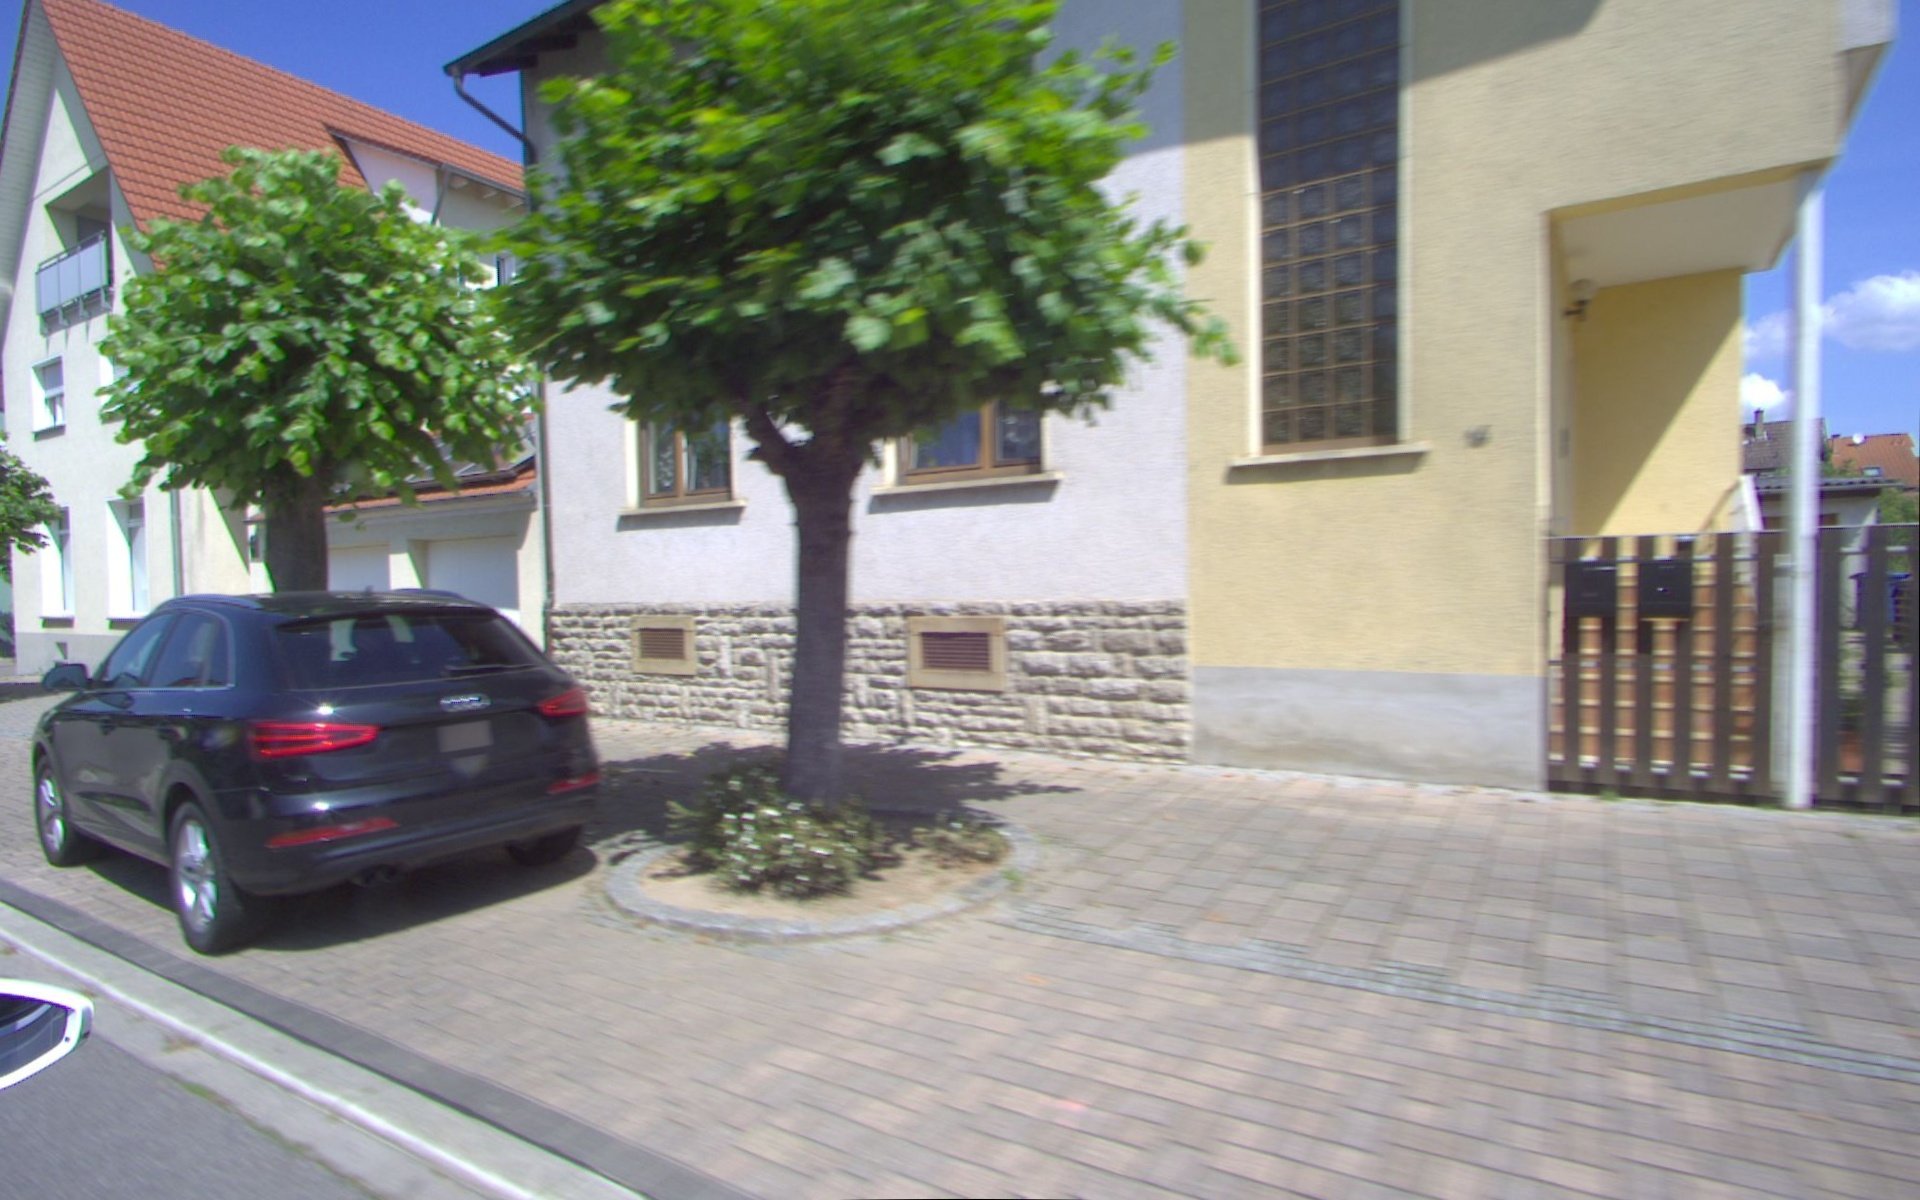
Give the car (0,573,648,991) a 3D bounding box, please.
[{"bbox_3d":[-3.836,0.700,5.819,4.004,1.608,1.817,0,2,37],"label":"car"}]
